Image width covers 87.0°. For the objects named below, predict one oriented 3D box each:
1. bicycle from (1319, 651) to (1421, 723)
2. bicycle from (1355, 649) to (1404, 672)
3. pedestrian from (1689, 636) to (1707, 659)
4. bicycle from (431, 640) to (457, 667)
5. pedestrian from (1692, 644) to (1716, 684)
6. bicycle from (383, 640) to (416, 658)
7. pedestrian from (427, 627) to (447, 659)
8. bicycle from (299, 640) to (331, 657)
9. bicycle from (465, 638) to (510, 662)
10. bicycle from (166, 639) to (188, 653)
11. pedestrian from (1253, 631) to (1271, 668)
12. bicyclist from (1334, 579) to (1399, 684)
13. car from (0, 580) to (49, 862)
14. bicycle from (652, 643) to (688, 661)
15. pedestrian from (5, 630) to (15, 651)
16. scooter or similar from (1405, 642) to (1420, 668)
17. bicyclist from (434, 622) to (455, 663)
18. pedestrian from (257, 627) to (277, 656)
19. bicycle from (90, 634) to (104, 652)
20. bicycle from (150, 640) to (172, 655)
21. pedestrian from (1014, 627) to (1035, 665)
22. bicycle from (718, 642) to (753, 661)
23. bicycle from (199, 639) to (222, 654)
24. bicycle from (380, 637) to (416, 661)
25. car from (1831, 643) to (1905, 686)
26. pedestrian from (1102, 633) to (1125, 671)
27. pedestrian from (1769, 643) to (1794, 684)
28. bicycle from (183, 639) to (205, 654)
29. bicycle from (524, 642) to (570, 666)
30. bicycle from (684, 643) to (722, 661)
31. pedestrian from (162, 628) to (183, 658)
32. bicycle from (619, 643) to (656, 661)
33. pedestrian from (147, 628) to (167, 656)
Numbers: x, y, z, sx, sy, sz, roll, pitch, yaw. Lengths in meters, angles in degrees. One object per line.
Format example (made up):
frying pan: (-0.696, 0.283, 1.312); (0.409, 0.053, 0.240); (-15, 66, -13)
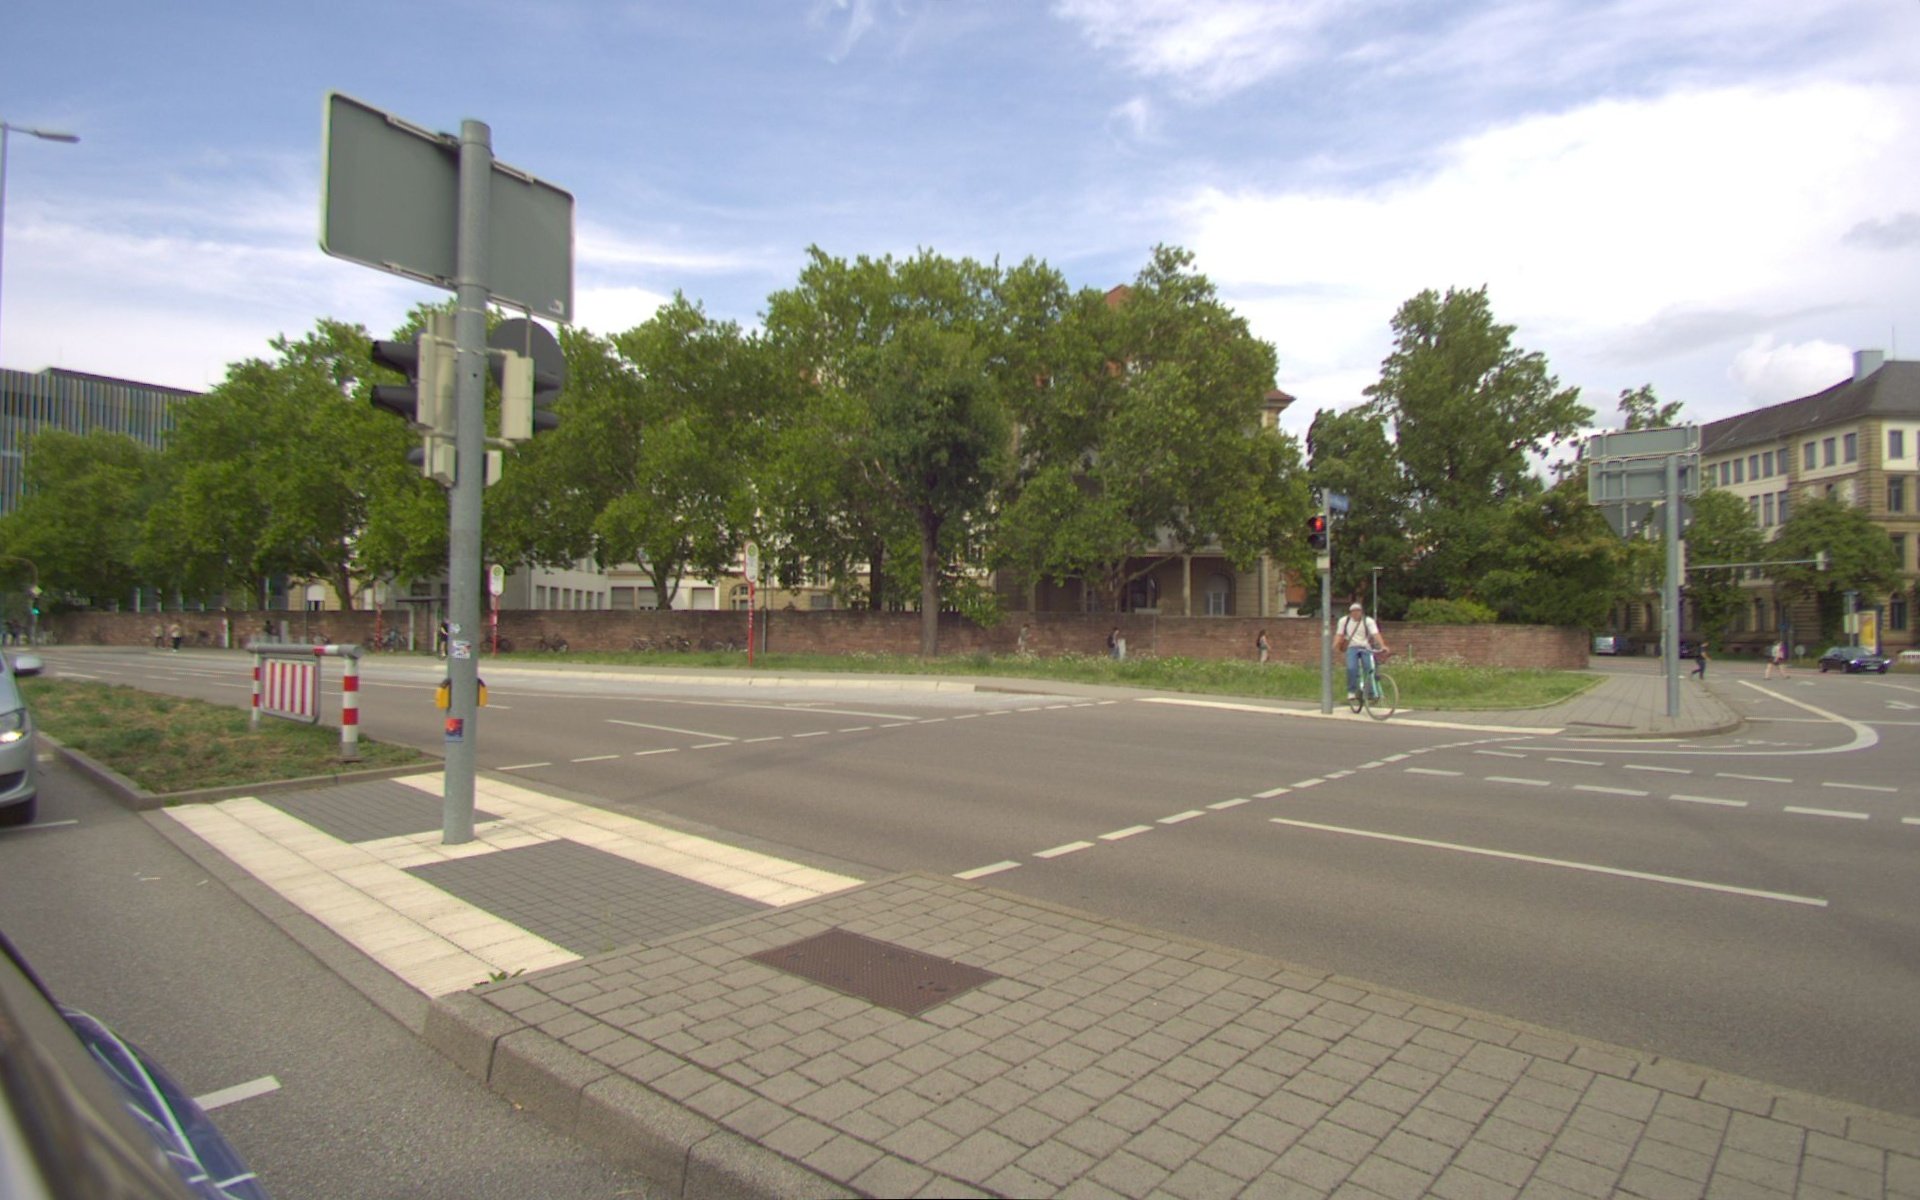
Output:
bicycle: (6.268, 1.307, 15.572); (0.498, 0.943, 1.975); (1, 0, -9)
bicycle: (19.257, 2.774, 46.480); (1.896, 1.012, 0.780); (-1, 0, -7)
pedestrian: (65.381, 4.206, 89.645); (0.880, 2.029, 1.006); (0, -2, 9)
bicycle: (-19.948, 2.067, 39.123); (0.498, 0.943, 1.976); (2, 0, -38)
pedestrian: (32.646, 2.796, 44.410); (0.799, 1.724, 0.828); (-1, 0, 40)
bicycle: (-30.151, 2.628, 54.436); (1.563, 0.894, 0.657); (-2, 1, 19)
pedestrian: (-27.584, 2.259, 53.420); (0.748, 1.634, 0.565); (-1, 0, 16)
bicycle: (-36.263, 2.706, 56.893); (1.563, 0.894, 0.657); (-2, 1, 19)
bicycle: (-24.491, 2.588, 52.467); (2.080, 1.198, 0.754); (-1, -4, 17)
bicycle: (-48.830, 2.864, 63.102); (1.568, 0.894, 0.429); (-1, 1, 28)
pedestrian: (13.713, 2.238, 45.959); (0.622, 1.667, 0.531); (-1, 0, 4)
bicyclist: (6.281, 0.475, 15.670); (0.571, 1.567, 0.799); (1, 0, -8)
car: (-8.062, 0.782, 7.335); (4.528, 1.747, 1.799); (-1, 0, 43)
bicycle: (-14.222, 2.542, 49.601); (1.795, 0.871, 0.356); (-1, -4, 18)
pedestrian: (-67.453, 2.841, 71.868); (0.472, 1.468, 0.398); (-1, 0, 32)
scooter or similar: (20.982, 2.543, 46.960); (0.516, 1.148, 1.508); (-1, 0, 21)
bicyclist: (-19.921, 1.638, 39.093); (0.570, 1.567, 0.800); (2, -1, -38)
pedestrian: (-40.145, 2.382, 58.599); (0.656, 1.634, 0.755); (-1, 0, -3)
bicycle: (-59.035, 2.928, 69.221); (1.394, 1.218, 0.507); (-1, 0, 38)
bicycle: (-50.504, 2.982, 63.966); (1.568, 0.894, 0.429); (-1, 1, 28)
pedestrian: (2.913, 2.045, 45.578); (0.769, 1.667, 0.579); (-1, 0, -16)
bicycle: (-10.865, 2.495, 48.981); (1.691, 0.871, 0.357); (-1, -4, 13)
bicycle: (-45.437, 2.814, 61.334); (1.568, 0.894, 0.429); (-1, 1, 28)
bicycle: (-29.374, 2.555, 52.951); (0.748, 1.198, 2.099); (1, -4, -2)
car: (47.968, 3.352, 53.567); (1.991, 2.029, 3.962); (-1, 0, 28)
pedestrian: (6.812, 2.294, 44.876); (0.768, 1.667, 0.579); (-1, 0, -22)
pedestrian: (36.181, 2.784, 44.575); (0.799, 1.724, 0.828); (-1, 0, 40)
bicycle: (-47.245, 2.841, 62.419); (1.568, 0.894, 0.429); (-1, 1, 28)
bicycle: (-20.900, 2.738, 51.217); (2.080, 1.198, 0.754); (-1, -4, 17)
bicycle: (-12.457, 2.517, 48.992); (1.876, 0.871, 0.356); (-1, -4, 20)
pedestrian: (-42.741, 2.325, 54.930); (0.663, 1.634, 0.746); (-1, 0, 32)
bicycle: (-15.975, 2.566, 50.120); (1.806, 0.871, 0.357); (-1, -4, 16)
pedestrian: (-47.818, 2.513, 60.273); (0.663, 1.634, 0.746); (-1, 0, 32)
